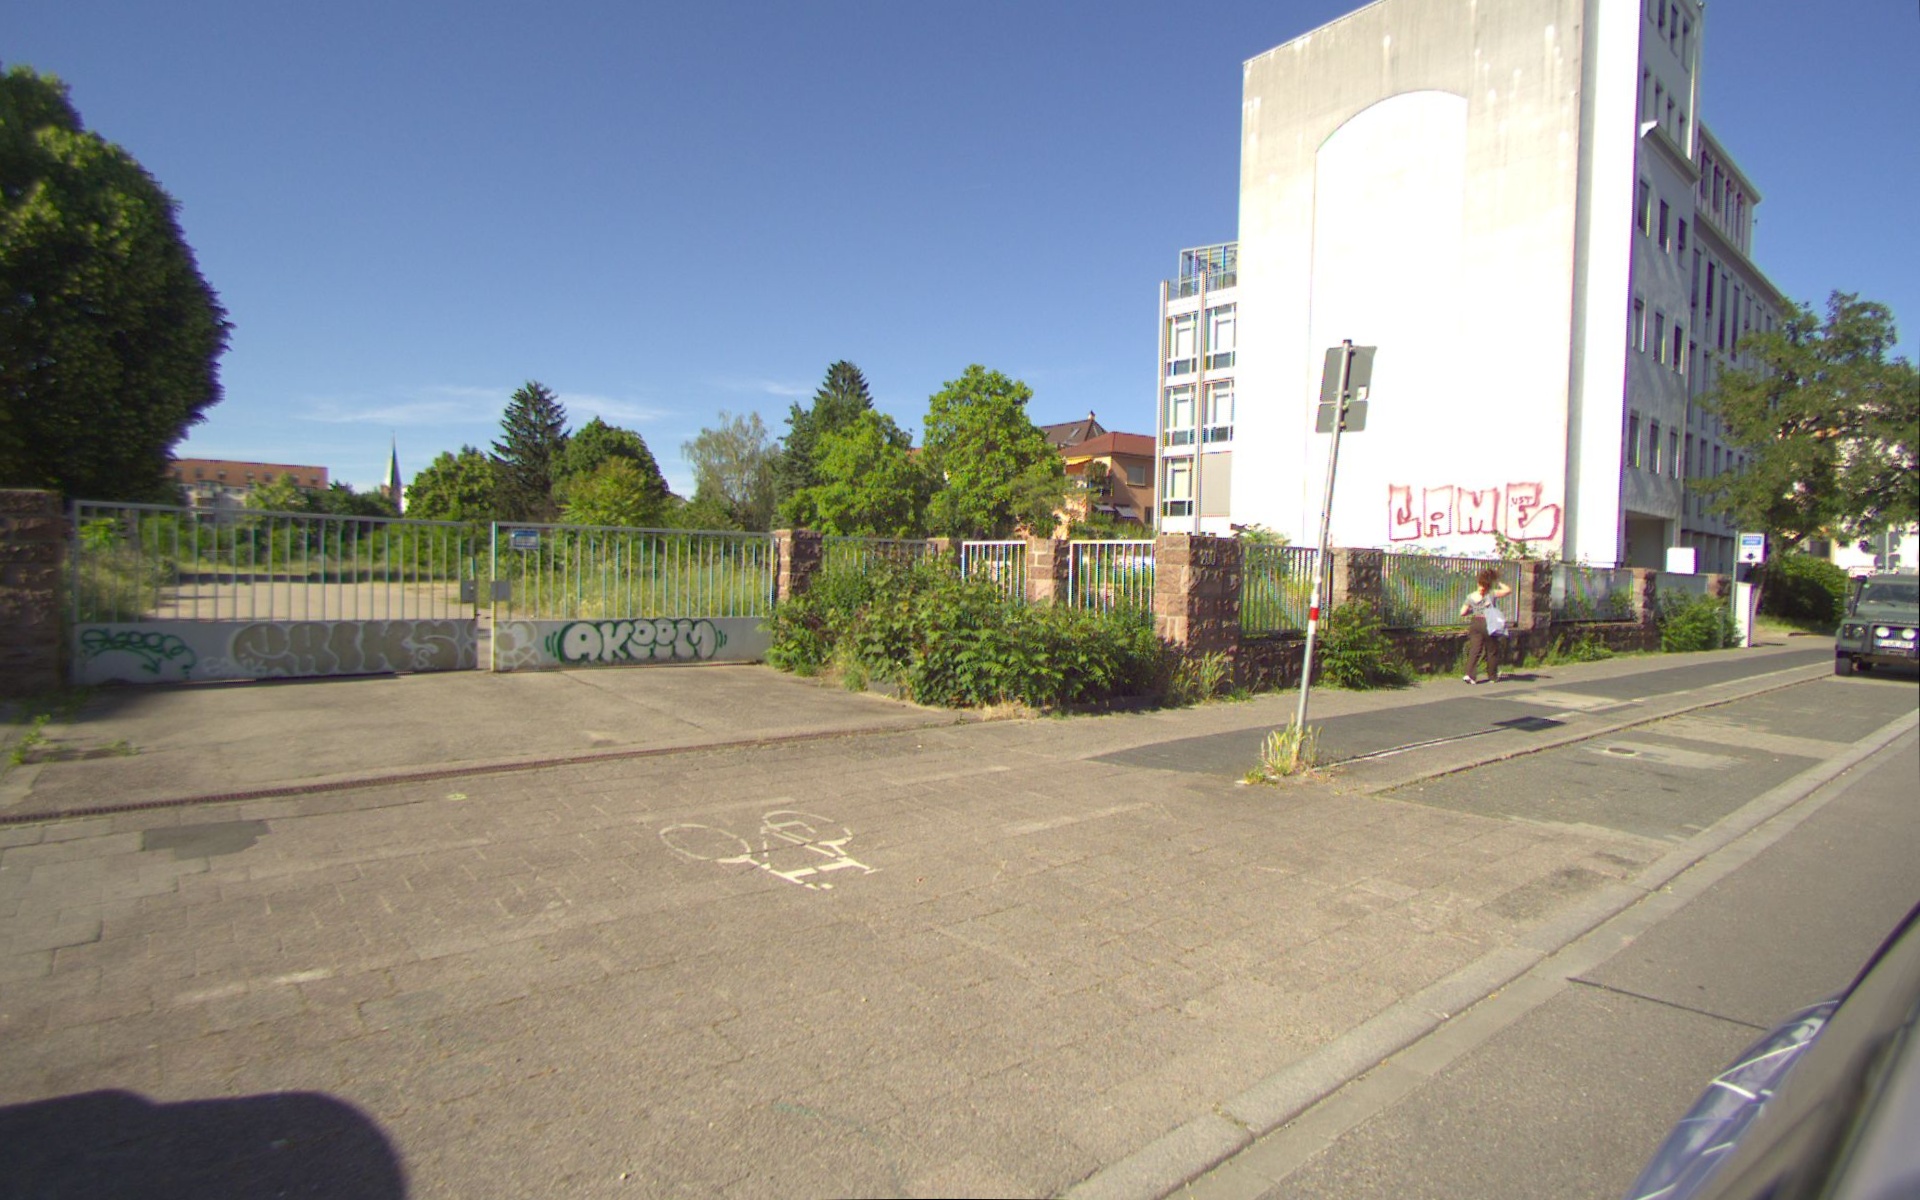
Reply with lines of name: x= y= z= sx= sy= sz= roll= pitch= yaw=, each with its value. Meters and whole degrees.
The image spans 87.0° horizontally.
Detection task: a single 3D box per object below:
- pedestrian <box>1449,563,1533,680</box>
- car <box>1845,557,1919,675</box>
pedestrian: x=7.647 y=0.287 z=14.577 sx=0.881 sy=1.603 sz=0.745 roll=1 pitch=2 yaw=-40
car: x=18.563 y=0.271 z=19.416 sx=4.693 sy=2.038 sz=1.664 roll=0 pitch=3 yaw=-41
